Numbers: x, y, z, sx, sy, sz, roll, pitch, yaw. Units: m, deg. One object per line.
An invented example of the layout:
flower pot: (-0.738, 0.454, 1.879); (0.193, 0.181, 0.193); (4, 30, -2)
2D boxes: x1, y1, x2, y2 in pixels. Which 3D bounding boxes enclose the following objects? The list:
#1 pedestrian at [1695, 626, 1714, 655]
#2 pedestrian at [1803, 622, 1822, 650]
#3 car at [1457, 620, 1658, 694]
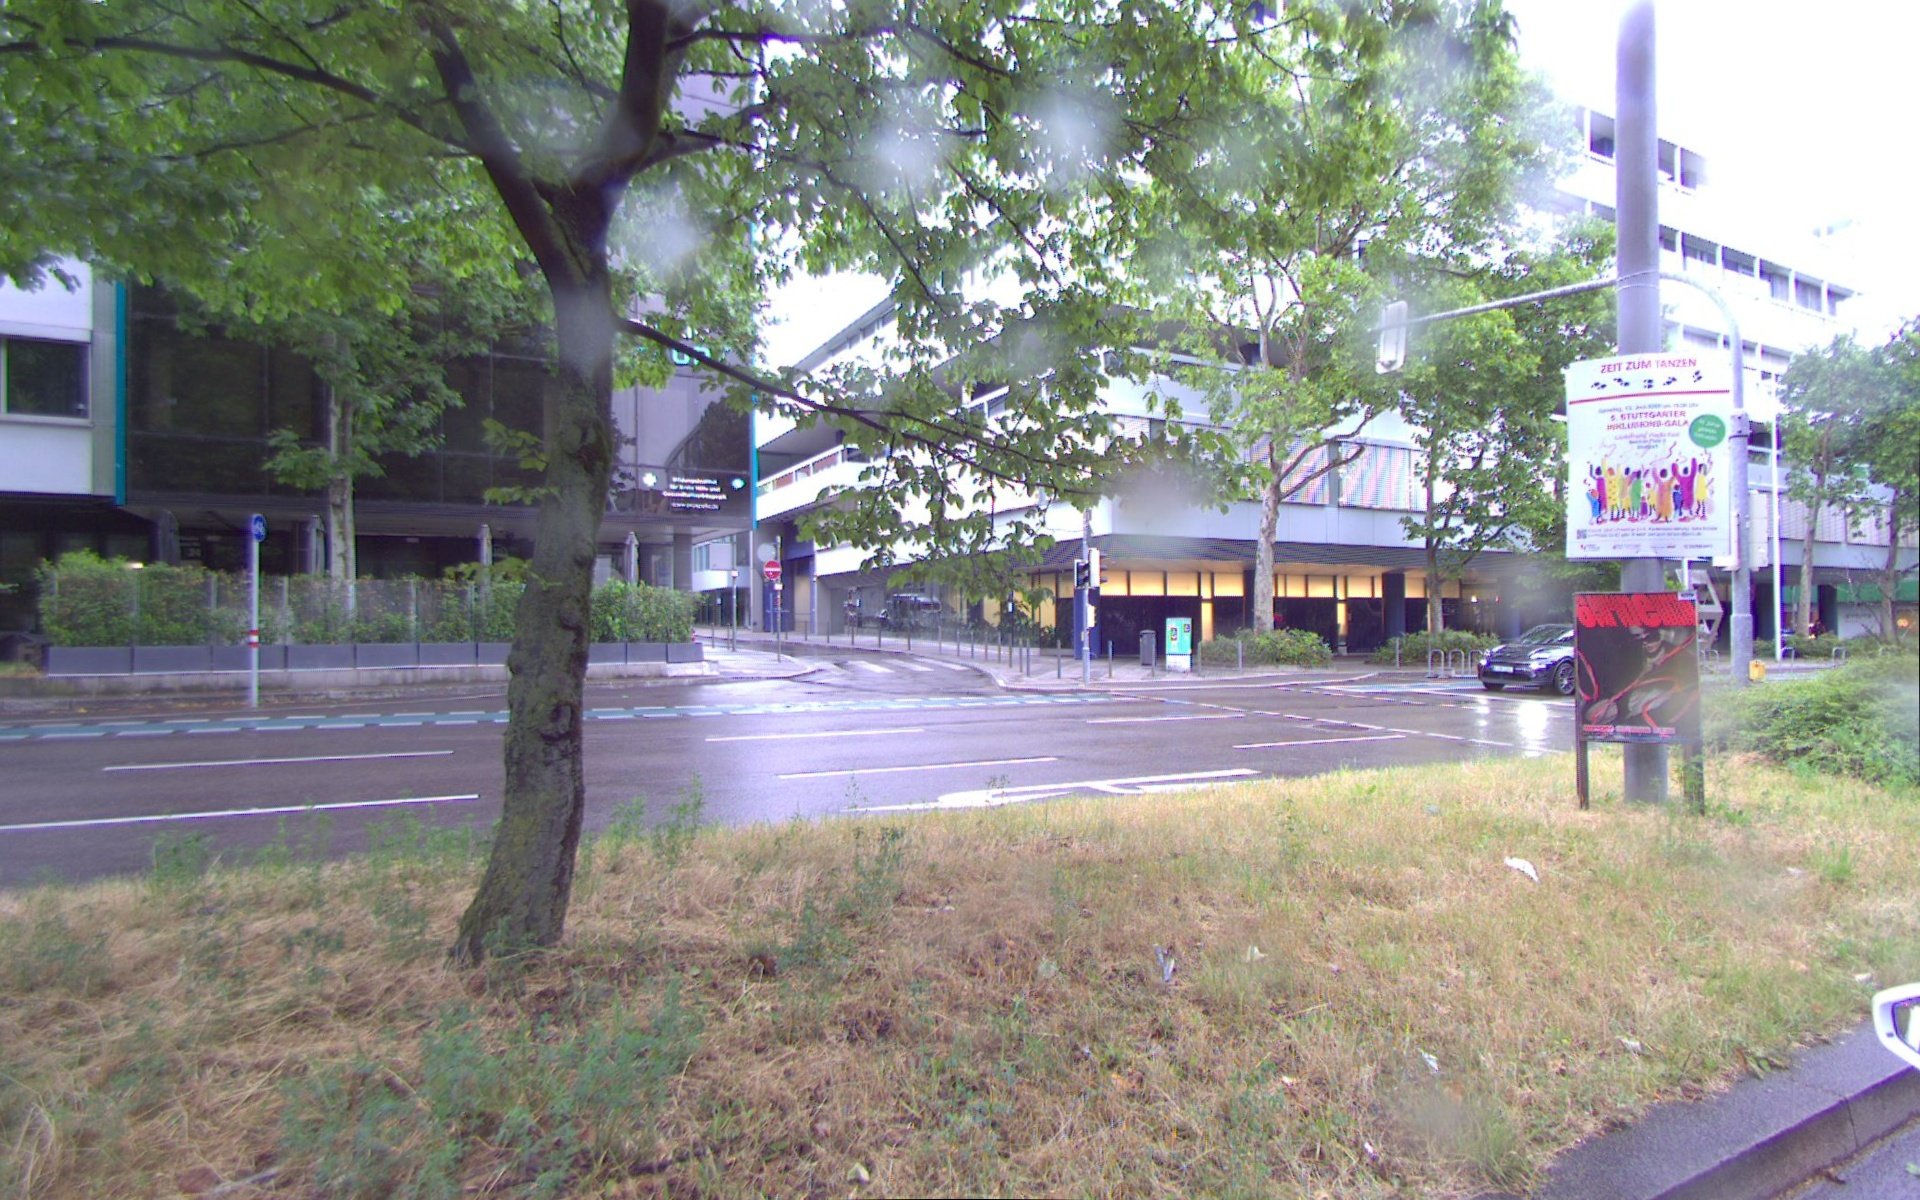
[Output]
pedestrian: (36.204, 1.972, 48.837); (0.470, 1.398, 0.632); (2, 0, -40)
pedestrian: (46.490, 1.963, 54.785); (0.568, 1.502, 0.606); (2, 0, -32)
car: (14.462, 1.364, 24.297); (4.683, 1.605, 1.903); (2, 0, -26)
